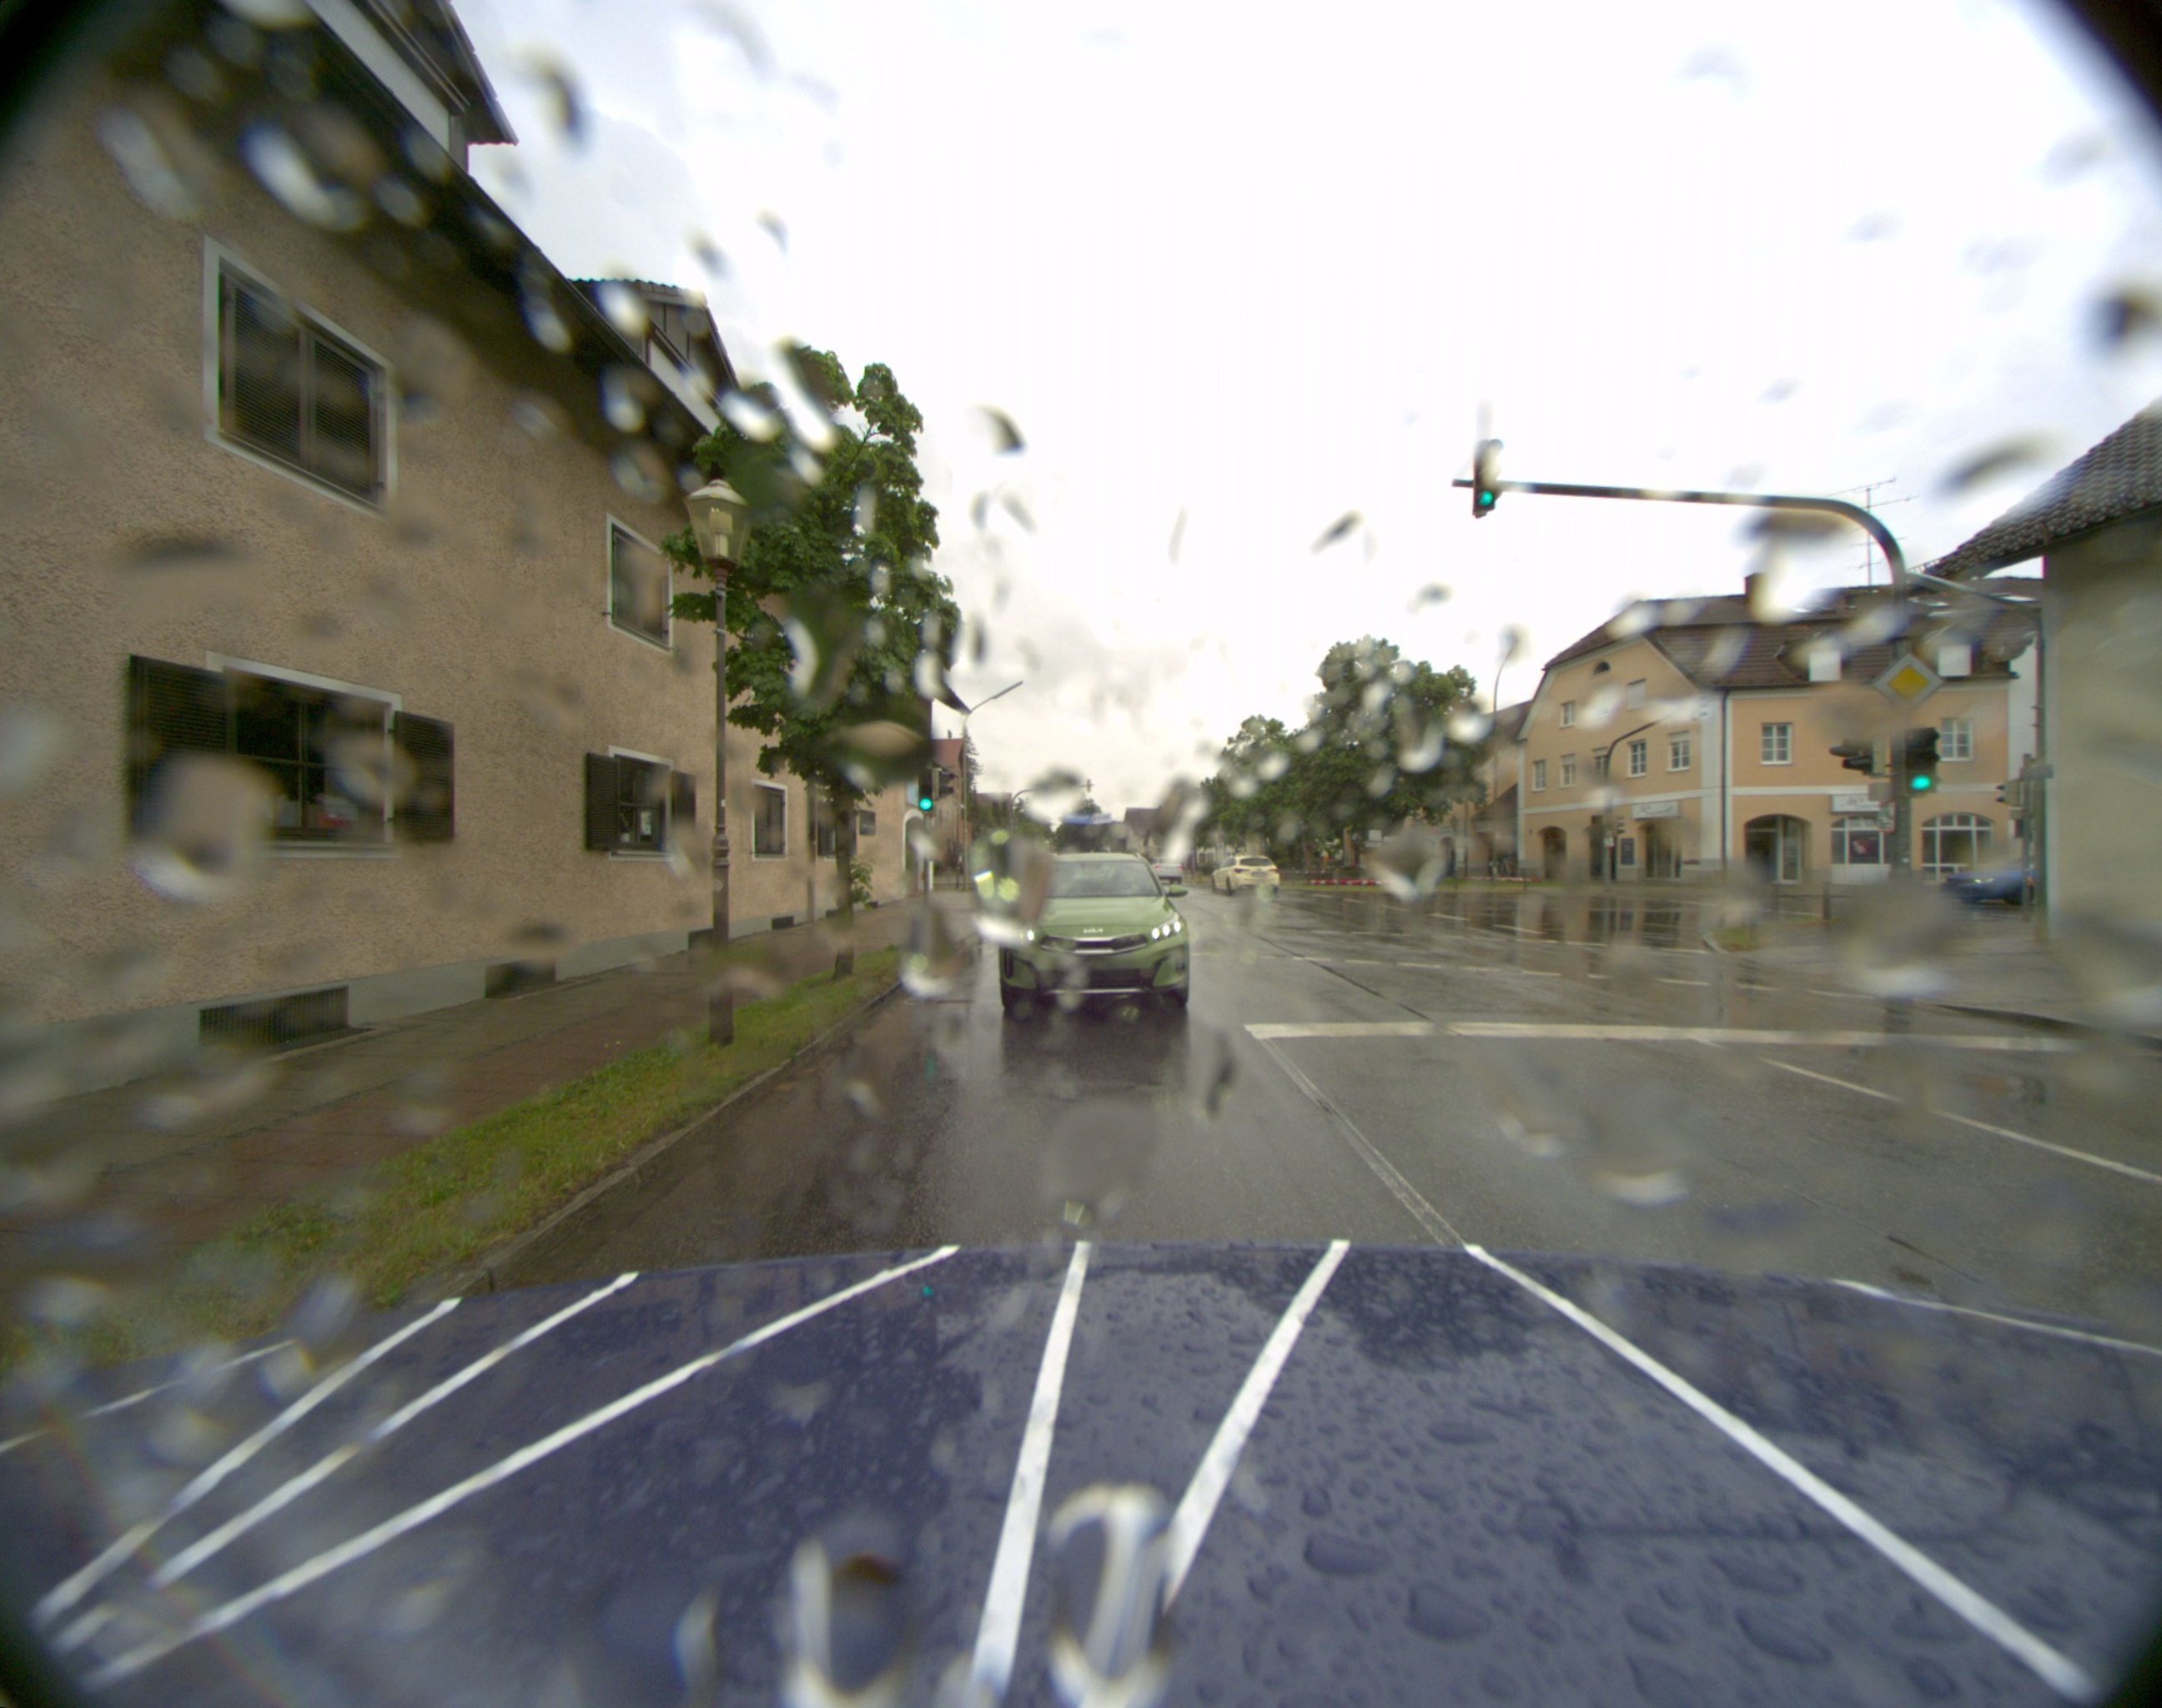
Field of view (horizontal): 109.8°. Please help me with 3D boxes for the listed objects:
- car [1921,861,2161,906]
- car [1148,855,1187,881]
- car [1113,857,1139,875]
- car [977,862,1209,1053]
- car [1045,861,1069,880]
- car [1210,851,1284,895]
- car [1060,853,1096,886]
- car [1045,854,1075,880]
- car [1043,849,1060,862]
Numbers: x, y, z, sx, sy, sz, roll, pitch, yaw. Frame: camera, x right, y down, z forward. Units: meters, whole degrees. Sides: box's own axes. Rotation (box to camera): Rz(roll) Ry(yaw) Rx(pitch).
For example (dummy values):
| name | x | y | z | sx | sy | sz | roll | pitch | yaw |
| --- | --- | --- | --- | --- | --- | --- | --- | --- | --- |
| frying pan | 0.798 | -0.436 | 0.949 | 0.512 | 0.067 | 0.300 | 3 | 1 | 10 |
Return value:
| name | x | y | z | sx | sy | sz | roll | pitch | yaw |
| --- | --- | --- | --- | --- | --- | --- | --- | --- | --- |
| car | 27.303 | 0.806 | 21.602 | 4.352 | 1.178 | 1.691 | 0 | 0 | 15 |
| car | 5.365 | 0.832 | 47.754 | 1.931 | 1.557 | 4.125 | 0 | 0 | -1 |
| car | 4.076 | 1.056 | 69.066 | 1.972 | 1.554 | 4.150 | 0 | 1 | -3 |
| car | 0.134 | 0.879 | 8.318 | 1.872 | 1.504 | 4.105 | -2 | 0 | 1 |
| car | -1.983 | 1.351 | 64.924 | 1.839 | 1.508 | 4.669 | 1 | 0 | 1 |
| car | 6.188 | 0.665 | 28.742 | 1.757 | 1.502 | 4.229 | 1 | 0 | -2 |
| car | -0.112 | 0.729 | 37.280 | 1.637 | 1.509 | 4.000 | 1 | 0 | 1 |
| car | -1.406 | 0.879 | 51.498 | 1.856 | 1.655 | 4.035 | 0 | 0 | 0 |
| car | -4.439 | 0.199 | 113.291 | 2.218 | 1.977 | 4.952 | 1 | 0 | -5 |
